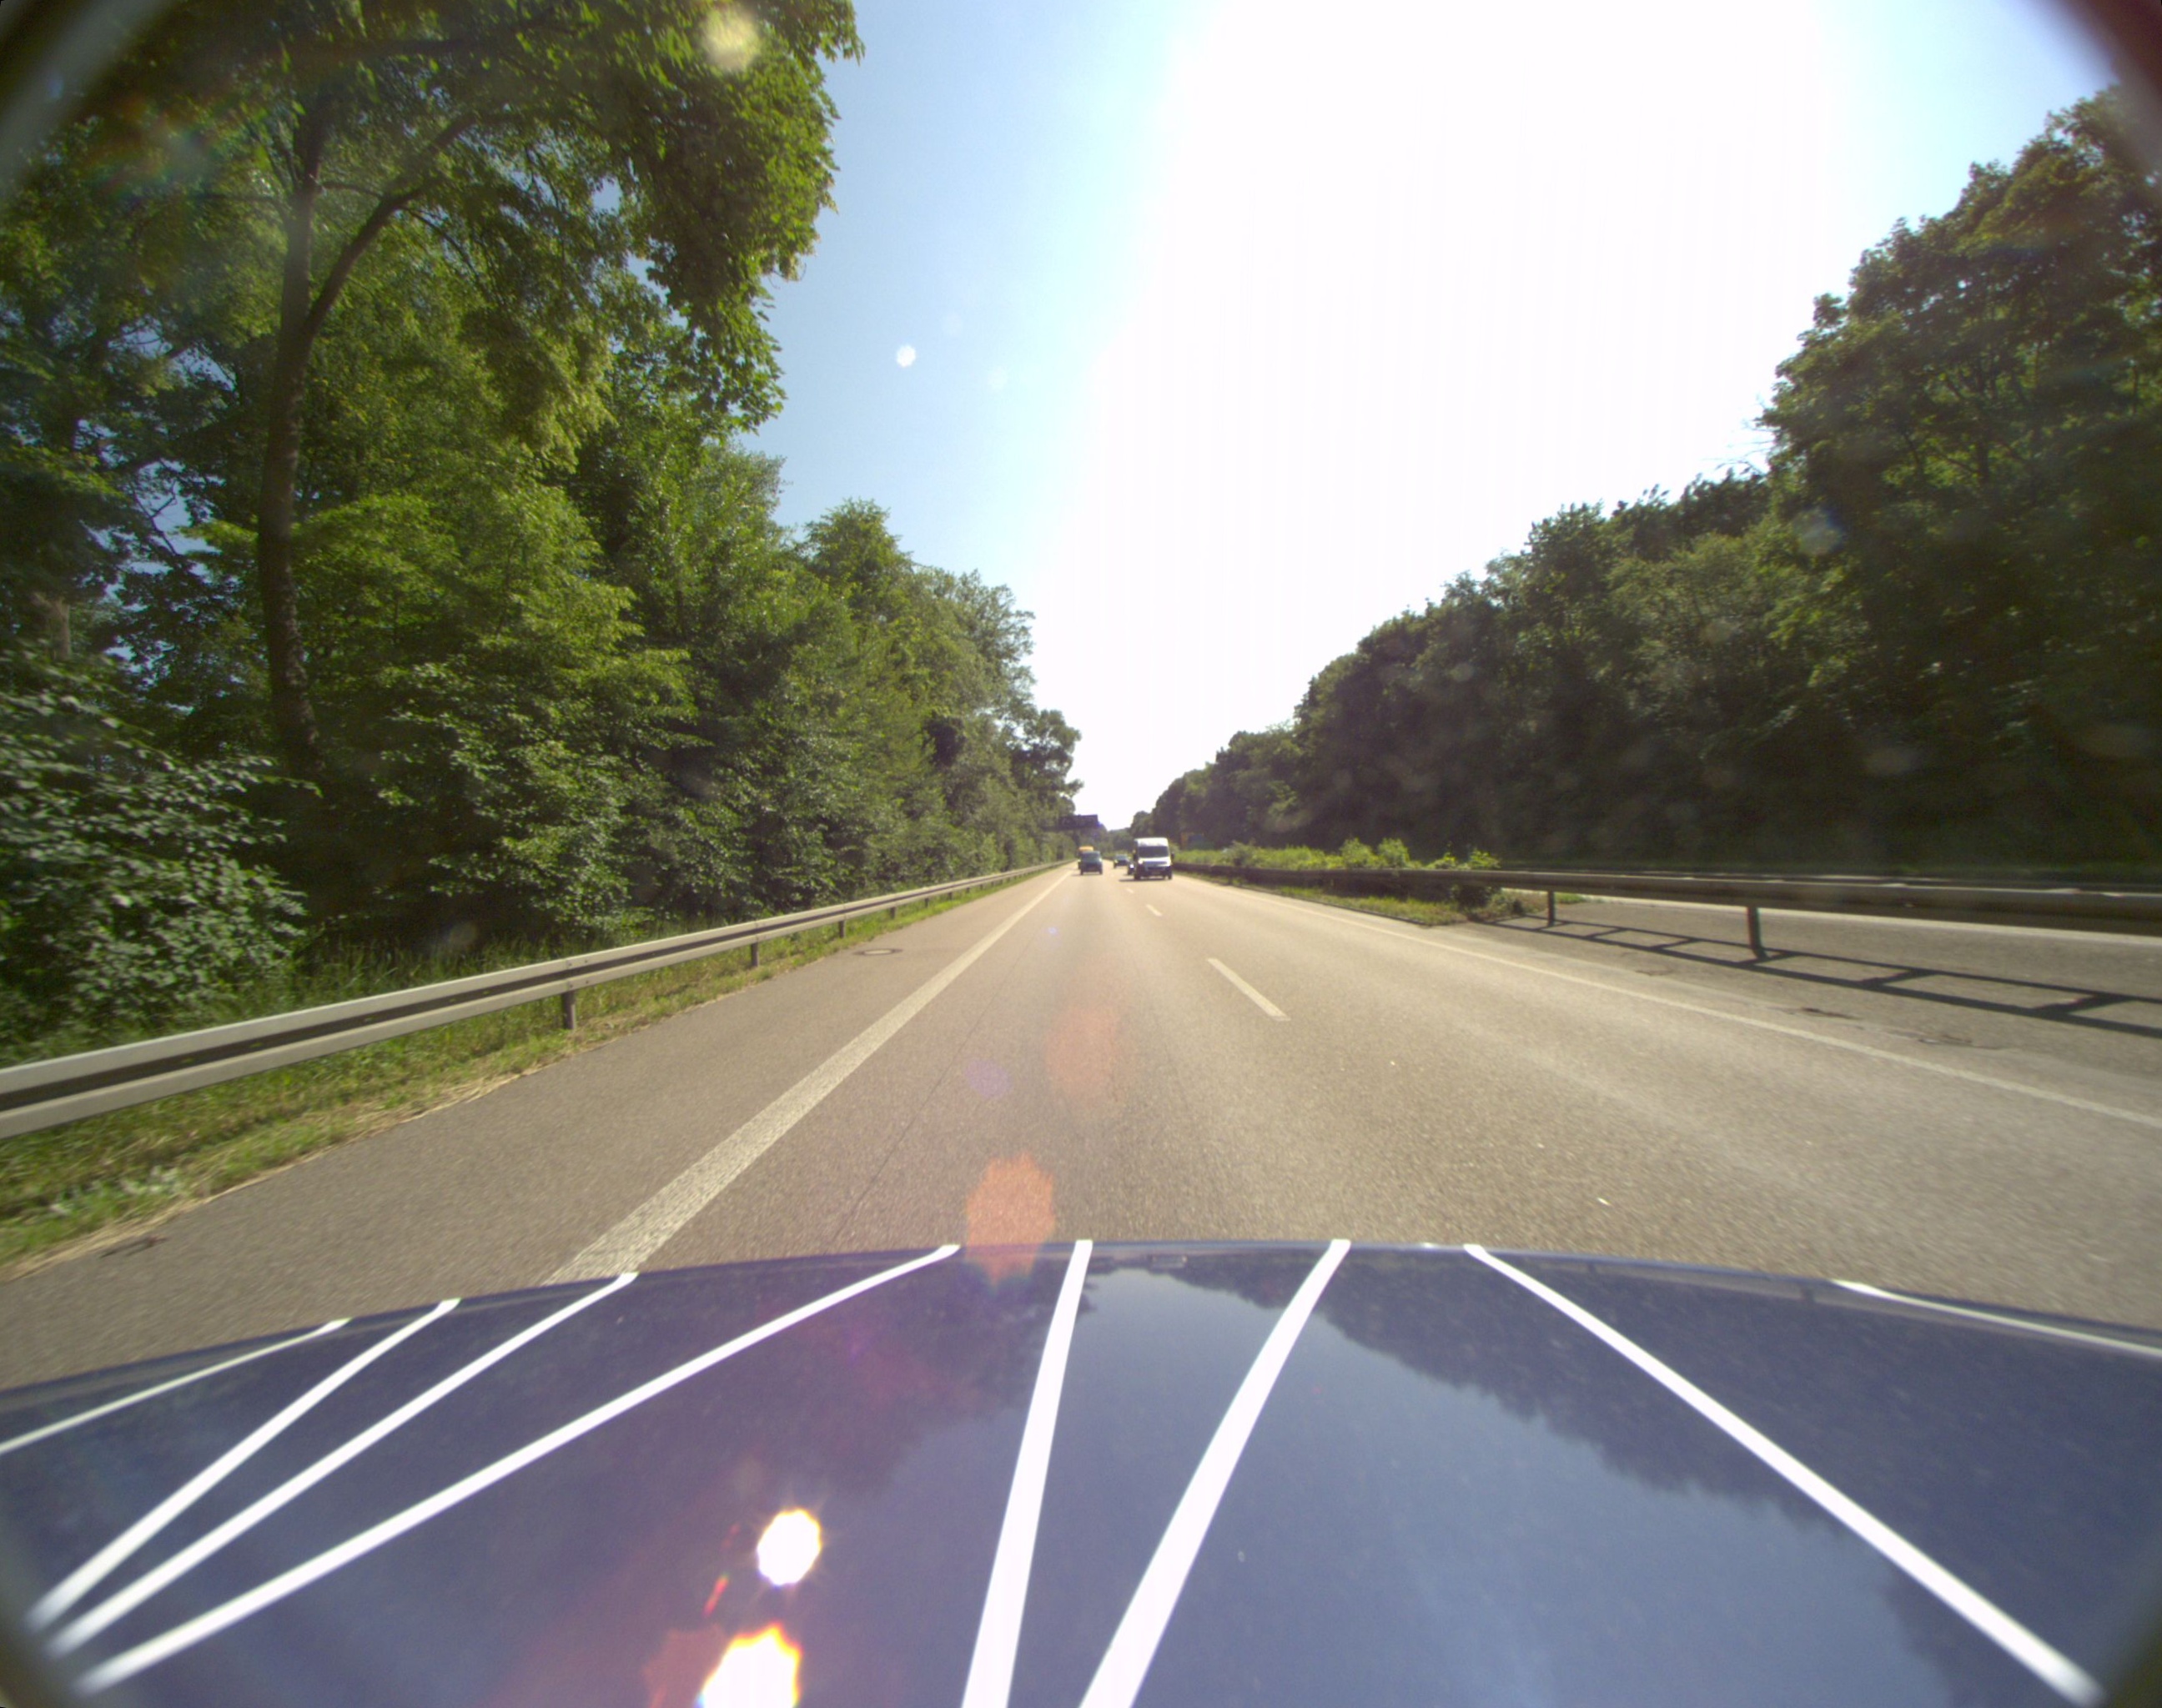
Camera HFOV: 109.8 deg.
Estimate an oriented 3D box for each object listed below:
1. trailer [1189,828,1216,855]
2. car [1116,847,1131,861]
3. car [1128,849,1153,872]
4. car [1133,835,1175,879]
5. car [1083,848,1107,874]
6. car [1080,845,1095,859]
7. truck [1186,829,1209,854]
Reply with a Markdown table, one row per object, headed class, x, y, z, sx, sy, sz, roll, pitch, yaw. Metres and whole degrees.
| class | x | y | z | sx | sy | sz | roll | pitch | yaw |
| --- | --- | --- | --- | --- | --- | --- | --- | --- | --- |
| trailer | 17.287 | -1.768 | 108.385 | 2.695 | 3.690 | 7.984 | -2 | 1 | 1 |
| car | 4.920 | -0.004 | 88.652 | 1.517 | 1.624 | 3.611 | -2 | 1 | 1 |
| car | 4.524 | 0.476 | 58.179 | 1.666 | 1.624 | 3.644 | -2 | 1 | 1 |
| car | 4.329 | 0.165 | 45.561 | 2.046 | 2.429 | 4.637 | -2 | 1 | 1 |
| car | 1.083 | 0.499 | 60.653 | 1.812 | 1.921 | 4.581 | -2 | 1 | 1 |
| car | 0.804 | -0.278 | 91.012 | 1.737 | 1.624 | 3.899 | -2 | 1 | 1 |
| truck | 17.312 | -1.839 | 113.018 | 2.652 | 3.684 | 4.000 | -2 | 1 | 1 |
